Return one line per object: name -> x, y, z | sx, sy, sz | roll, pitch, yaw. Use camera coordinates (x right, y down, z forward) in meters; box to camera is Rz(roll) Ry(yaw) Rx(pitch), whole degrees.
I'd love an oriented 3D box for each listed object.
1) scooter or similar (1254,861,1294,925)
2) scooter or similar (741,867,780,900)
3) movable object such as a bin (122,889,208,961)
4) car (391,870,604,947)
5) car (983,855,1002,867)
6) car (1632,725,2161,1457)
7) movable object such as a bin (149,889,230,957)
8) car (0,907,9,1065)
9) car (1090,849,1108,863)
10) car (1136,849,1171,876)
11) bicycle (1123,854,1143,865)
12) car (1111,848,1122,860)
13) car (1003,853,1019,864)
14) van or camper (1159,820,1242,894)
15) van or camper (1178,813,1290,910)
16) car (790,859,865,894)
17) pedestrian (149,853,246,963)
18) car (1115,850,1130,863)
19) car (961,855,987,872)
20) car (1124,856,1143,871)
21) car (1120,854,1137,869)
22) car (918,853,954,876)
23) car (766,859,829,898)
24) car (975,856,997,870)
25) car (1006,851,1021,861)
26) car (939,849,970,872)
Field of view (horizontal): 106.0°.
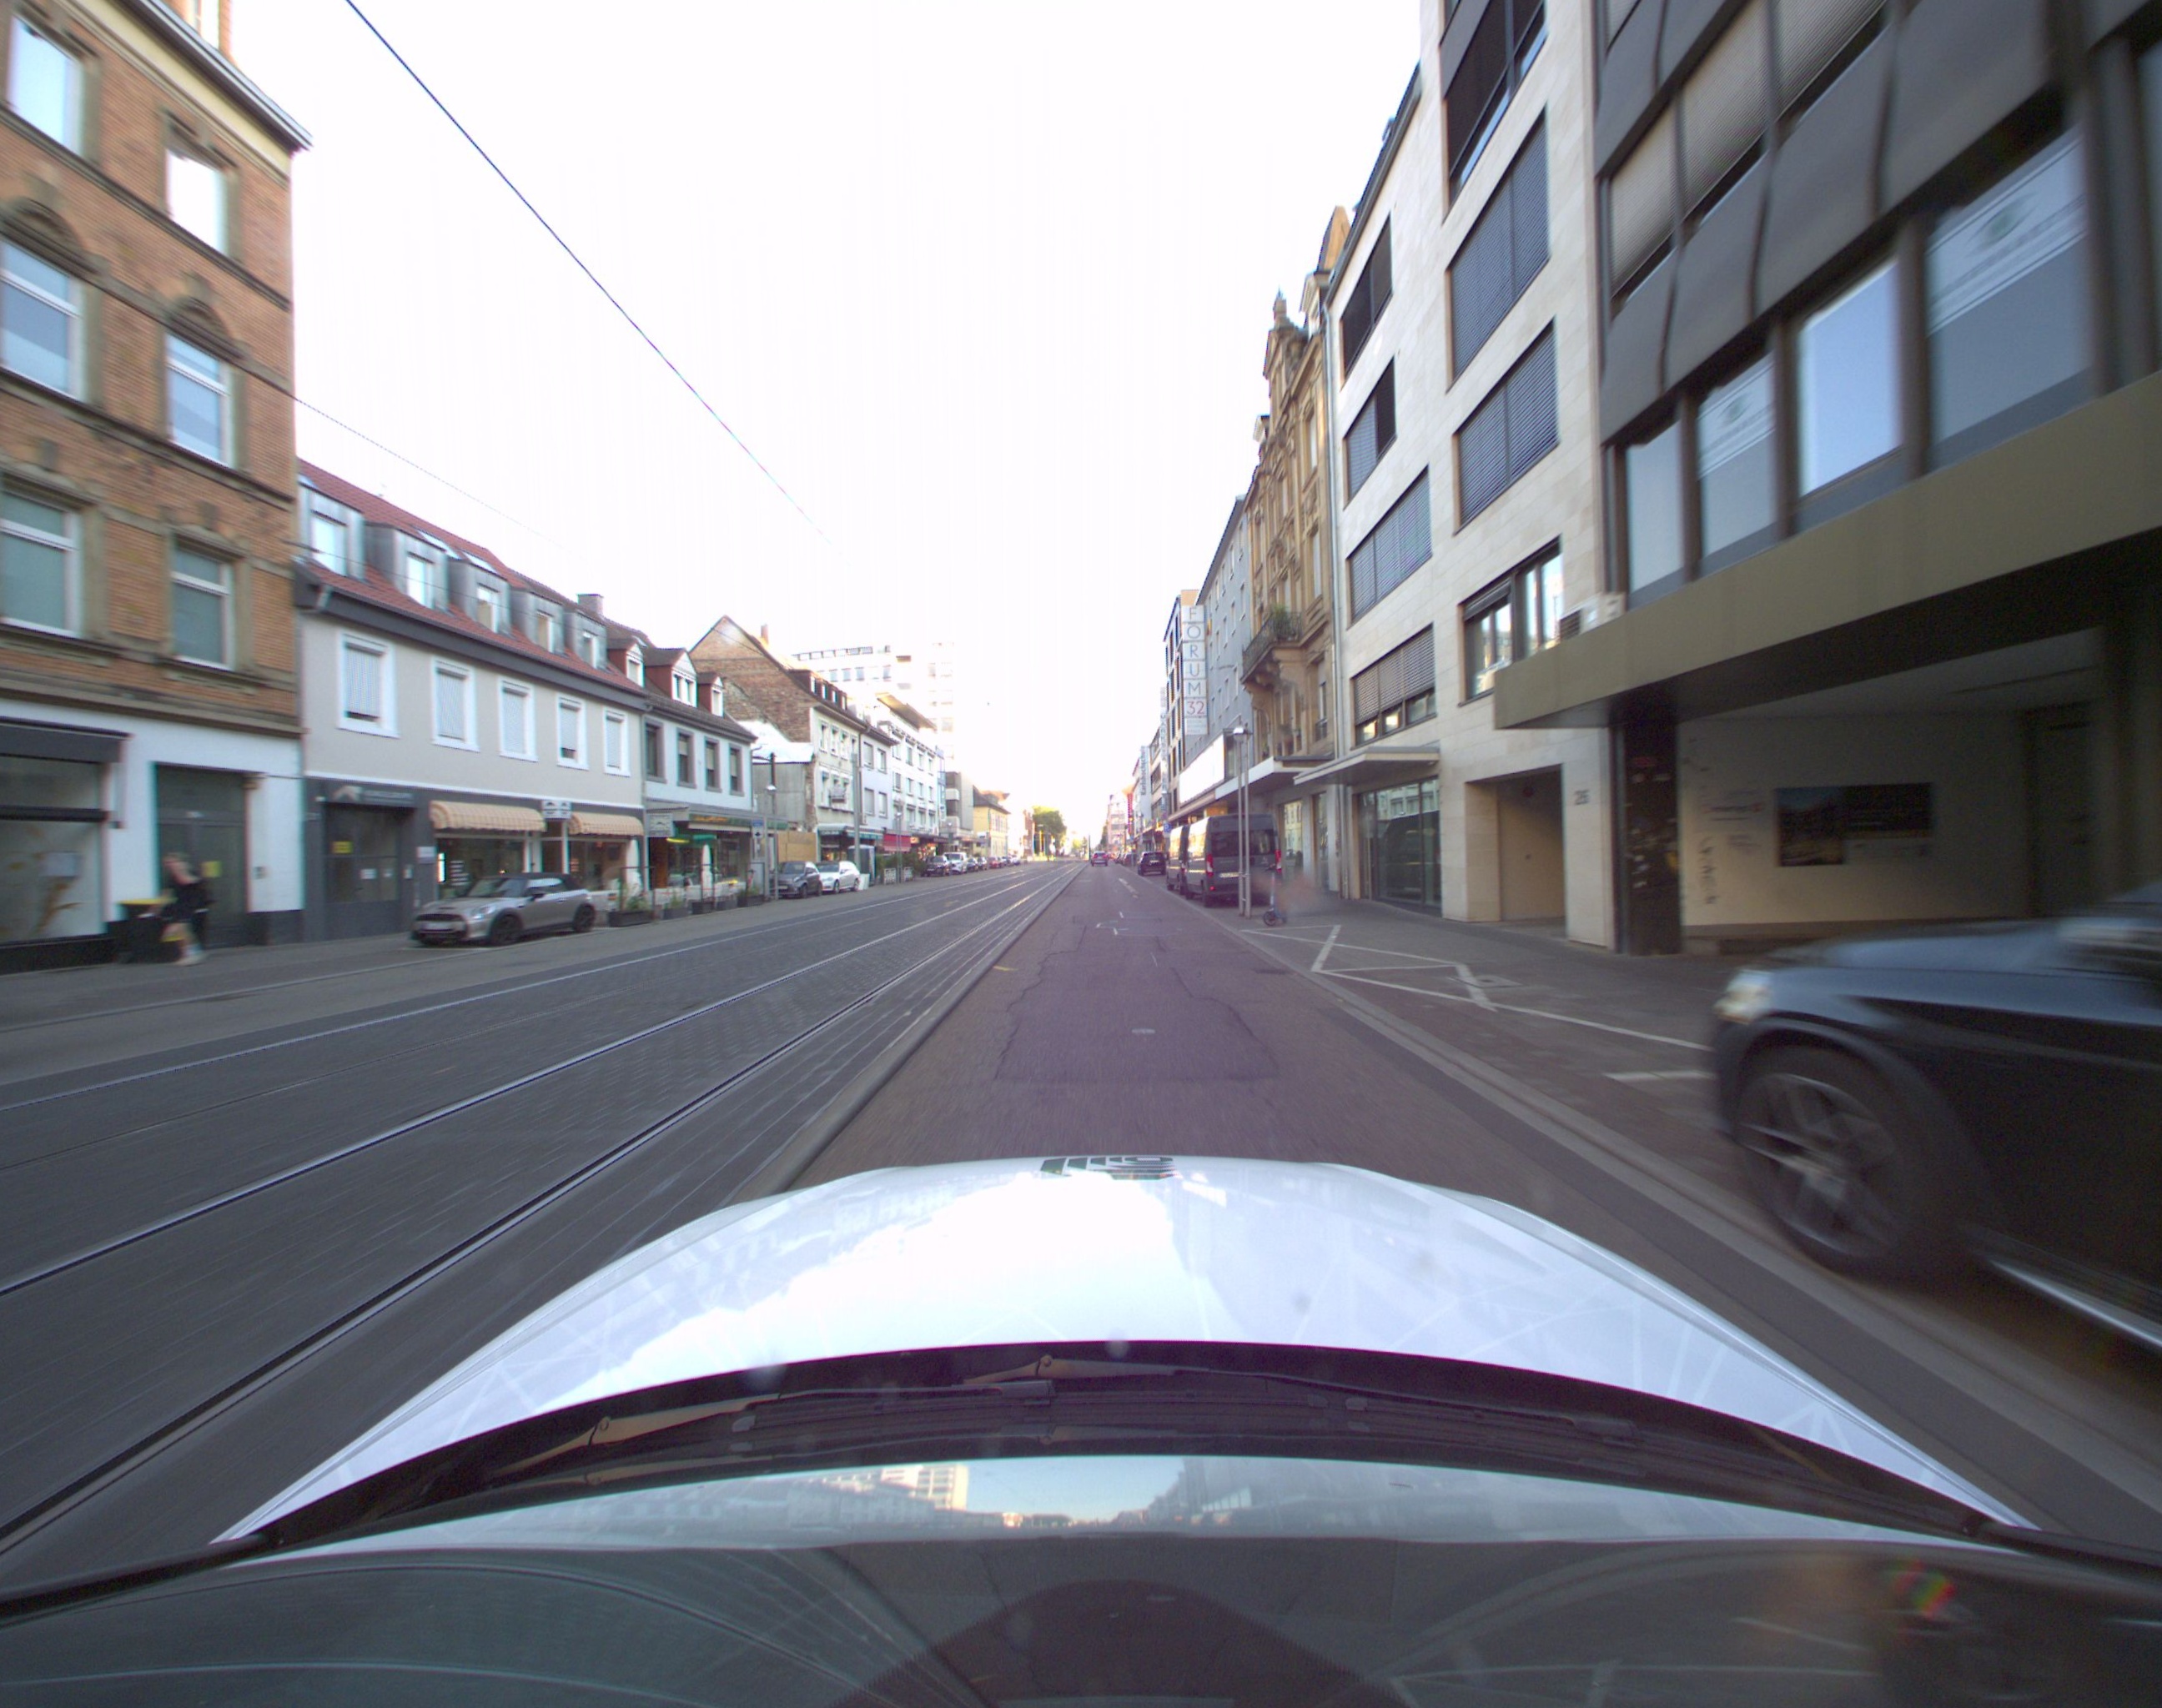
scooter or similar -> 3.963, 0.789, 16.676 | 0.350, 1.224, 1.123 | -4, 0, 34
scooter or similar -> -11.977, 1.088, 30.456 | 1.309, 1.205, 0.294 | 1, 0, 1
movable object such as a bin -> -15.371, 1.181, 13.684 | 0.588, 1.131, 0.729 | -2, 0, 1
car -> -12.437, 1.095, 17.704 | 1.727, 1.389, 3.866 | 1, 0, 2
car -> -10.500, 0.853, 96.787 | 1.785, 1.339, 3.891 | 1, 0, 0
car -> 3.489, 0.511, 1.396 | 1.976, 1.734, 4.673 | -4, 0, 2
movable object such as a bin -> -15.776, 1.207, 14.428 | 0.588, 1.131, 0.729 | -2, 0, 1
car -> -9.310, 1.080, 4.252 | 1.661, 1.228, 4.274 | -4, 0, 1
car -> 2.117, 0.193, 95.235 | 1.936, 1.545, 4.547 | -1, 0, 2
car -> 4.712, 0.528, 53.489 | 1.936, 1.545, 4.547 | -3, 0, 2
bicycle -> 5.613, 0.561, 87.982 | 2.113, 1.090, 0.591 | -2, 0, -2
car -> 6.538, 0.048, 151.702 | 1.936, 2.145, 4.547 | -3, 0, 2
car -> -9.894, 0.597, 115.470 | 1.785, 1.449, 3.891 | 1, 0, 0
van or camper -> 4.398, 0.102, 30.886 | 2.182, 2.426, 5.517 | -3, 0, 0
van or camper -> 4.362, 0.189, 24.406 | 2.181, 2.426, 6.133 | -4, 0, 1
car -> -11.760, 0.996, 38.106 | 1.842, 1.504, 4.843 | 1, 0, 2
pedestrian -> -14.657, 0.865, 13.534 | 0.645, 1.772, 0.855 | 0, 0, 1
car -> 5.698, 0.344, 113.206 | 1.936, 1.703, 4.547 | -3, 0, 2
car -> -10.553, 0.914, 80.725 | 1.911, 1.521, 4.630 | 1, 0, 0
car -> 5.913, 1.084, 91.753 | 1.936, 1.545, 4.547 | -3, 0, 2
car -> 5.697, 0.892, 98.291 | 1.936, 1.545, 4.547 | -3, 0, 2
car -> -11.538, 0.800, 65.089 | 1.910, 1.763, 4.431 | 1, 0, 1
car -> -11.706, 0.972, 33.756 | 1.586, 1.504, 2.812 | 1, 0, 0
car -> -10.117, 0.950, 87.018 | 1.785, 1.339, 3.891 | 1, 0, 0
car -> -10.038, 0.334, 121.514 | 1.785, 1.449, 3.891 | 1, 0, 0
car -> -11.267, 0.547, 72.790 | 1.910, 1.935, 4.843 | 1, 0, 2
